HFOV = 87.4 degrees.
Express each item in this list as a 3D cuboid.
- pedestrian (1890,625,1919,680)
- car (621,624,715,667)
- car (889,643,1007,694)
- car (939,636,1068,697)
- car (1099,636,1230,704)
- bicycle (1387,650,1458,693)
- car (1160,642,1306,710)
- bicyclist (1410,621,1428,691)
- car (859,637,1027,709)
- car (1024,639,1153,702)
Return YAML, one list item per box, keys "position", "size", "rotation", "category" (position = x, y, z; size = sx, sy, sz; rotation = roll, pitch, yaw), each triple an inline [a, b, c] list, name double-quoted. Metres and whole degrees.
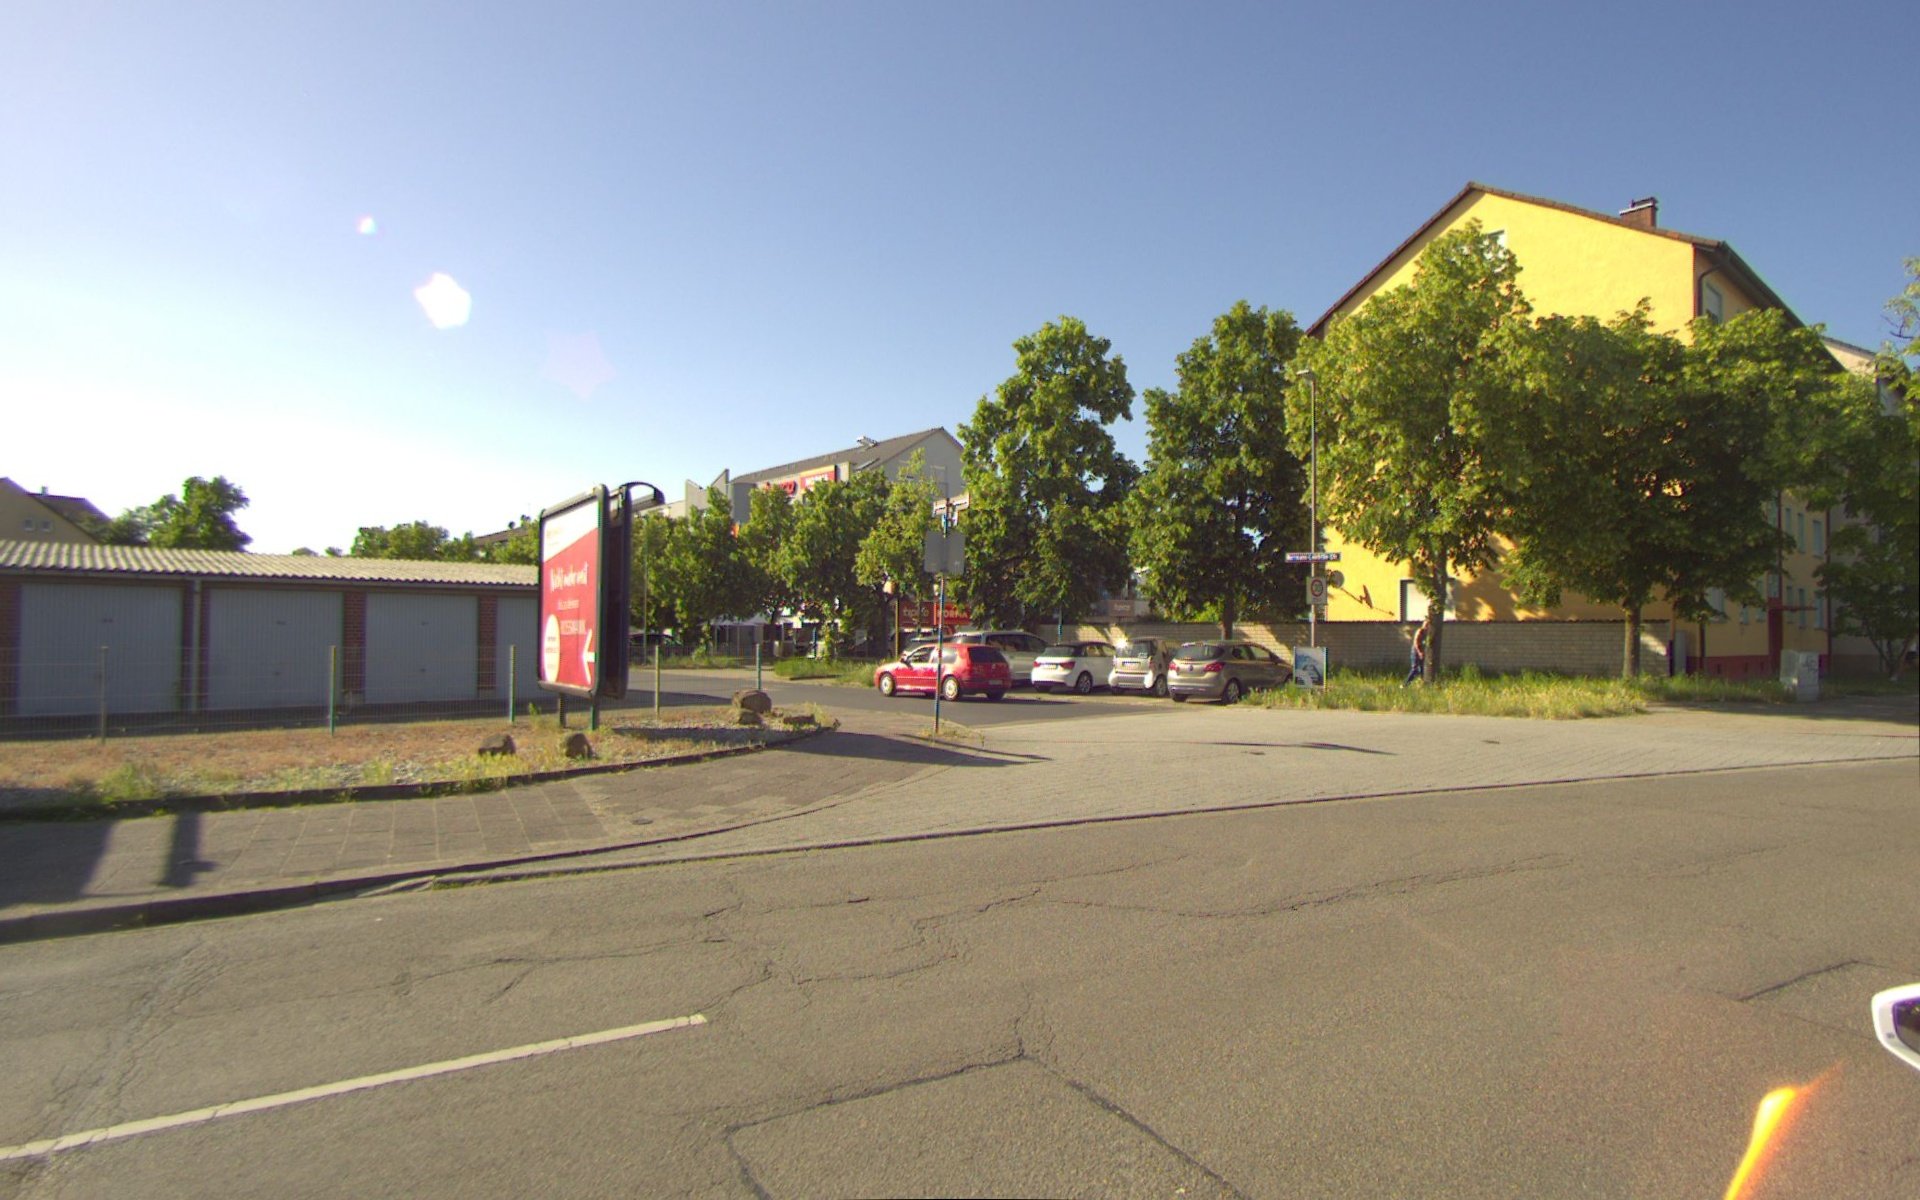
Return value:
- position: [30.695, 1.714, 32.511]
  size: [0.712, 1.740, 0.682]
  rotation: [3, -4, -30]
  category: "pedestrian"
- position: [-13.818, 2.119, 47.519]
  size: [3.953, 1.951, 1.833]
  rotation: [1, -2, -31]
  category: "car"
- position: [-0.355, 2.218, 33.047]
  size: [3.852, 1.525, 1.488]
  rotation: [1, -2, -42]
  category: "car"
- position: [1.363, 1.965, 30.434]
  size: [3.852, 1.701, 1.683]
  rotation: [1, -2, -42]
  category: "car"
- position: [5.661, 1.862, 27.549]
  size: [1.680, 1.643, 3.857]
  rotation: [-1, -1, 44]
  category: "car"
- position: [11.536, 1.778, 25.081]
  size: [1.593, 1.024, 0.406]
  rotation: [0, -2, 29]
  category: "bicycle"
- position: [6.755, 1.805, 24.681]
  size: [3.853, 1.483, 1.713]
  rotation: [1, -2, -43]
  category: "car"
- position: [11.489, 1.399, 25.131]
  size: [0.382, 1.707, 0.382]
  rotation: [0, -3, 29]
  category: "bicyclist"
- position: [-0.512, 1.817, 26.196]
  size: [2.005, 1.589, 4.336]
  rotation: [1, -1, -44]
  category: "car"
- position: [3.730, 1.958, 28.741]
  size: [1.680, 1.483, 3.857]
  rotation: [-1, 0, 44]
  category: "car"
